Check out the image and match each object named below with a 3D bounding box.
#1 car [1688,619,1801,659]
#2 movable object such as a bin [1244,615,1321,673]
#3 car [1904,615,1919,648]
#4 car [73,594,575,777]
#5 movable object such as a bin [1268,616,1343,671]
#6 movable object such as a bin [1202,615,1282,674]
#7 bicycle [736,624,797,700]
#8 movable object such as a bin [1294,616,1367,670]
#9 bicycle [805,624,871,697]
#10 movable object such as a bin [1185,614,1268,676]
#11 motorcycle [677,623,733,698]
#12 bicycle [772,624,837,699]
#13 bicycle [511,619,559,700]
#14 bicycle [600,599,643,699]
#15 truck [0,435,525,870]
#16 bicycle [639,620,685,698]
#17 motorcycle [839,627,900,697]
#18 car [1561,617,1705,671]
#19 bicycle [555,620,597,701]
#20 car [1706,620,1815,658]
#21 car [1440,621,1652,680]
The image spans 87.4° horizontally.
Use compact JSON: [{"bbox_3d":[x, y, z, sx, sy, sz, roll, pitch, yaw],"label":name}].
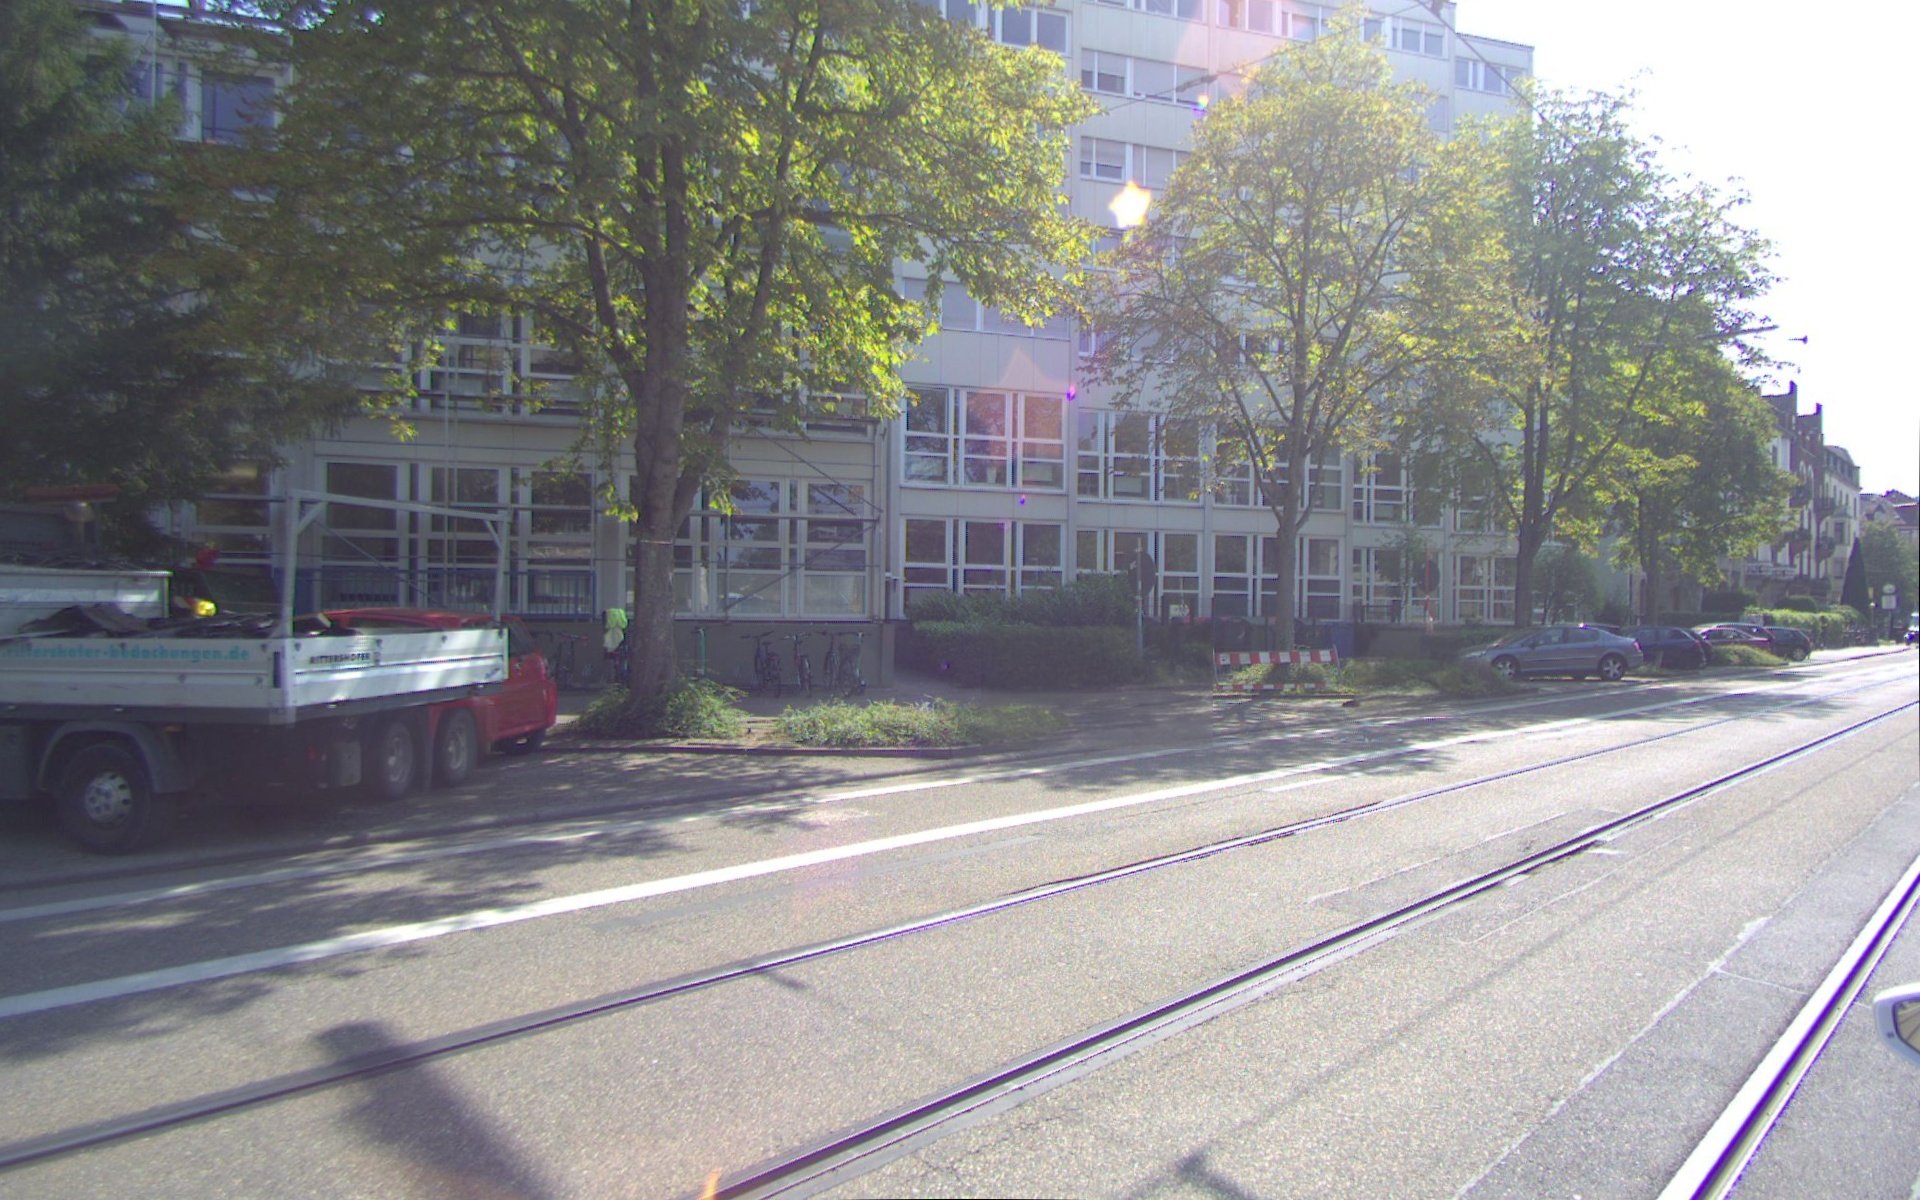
[{"bbox_3d":[34.314,1.695,44.036,3.514,1.595,1.678,1,0,8],"label":"car"},{"bbox_3d":[9.163,1.232,28.567,1.344,1.580,1.667,1,-1,-42],"label":"movable object such as a bin"},{"bbox_3d":[75.893,2.493,79.005,3.974,2.474,2.220,2,0,-44],"label":"car"},{"bbox_3d":[-5.922,0.749,9.617,3.782,1.528,1.722,1,-1,6],"label":"car"},{"bbox_3d":[10.207,1.260,29.723,1.344,1.580,1.667,1,-1,-42],"label":"movable object such as a bin"},{"bbox_3d":[7.770,1.201,27.684,1.344,1.580,1.667,1,-1,-42],"label":"movable object such as a bin"},{"bbox_3d":[-3.545,1.086,18.229,0.613,1.184,2.333,2,1,-22],"label":"bicycle"},{"bbox_3d":[11.319,1.295,30.676,1.344,1.580,1.667,1,-1,-42],"label":"movable object such as a bin"},{"bbox_3d":[-2.321,1.093,18.783,0.554,1.184,2.332,2,1,-23],"label":"bicycle"},{"bbox_3d":[6.991,1.157,26.400,1.344,1.580,1.667,1,-1,-42],"label":"movable object such as a bin"},{"bbox_3d":[-4.575,1.054,17.959,0.733,1.170,1.997,2,1,-20],"label":"motorcycle"},{"bbox_3d":[-2.904,1.100,18.534,0.613,1.184,2.333,2,1,-23],"label":"bicycle"},{"bbox_3d":[-7.075,0.953,16.787,0.593,1.175,2.335,2,1,-20],"label":"bicycle"},{"bbox_3d":[-5.840,0.793,17.269,0.593,1.546,2.335,2,1,-20],"label":"bicycle"},{"bbox_3d":[-6.479,0.255,7.280,5.847,2.467,2.152,1,-1,11],"label":"truck"},{"bbox_3d":[-5.217,0.989,17.518,0.593,1.184,2.335,2,1,-20],"label":"bicycle"},{"bbox_3d":[-1.750,1.157,19.167,0.685,1.198,1.836,2,1,-20],"label":"motorcycle"},{"bbox_3d":[21.933,1.409,32.835,3.514,1.595,1.678,1,0,8],"label":"car"},{"bbox_3d":[-6.487,0.981,17.006,0.593,1.175,2.335,2,1,-20],"label":"bicycle"},{"bbox_3d":[36.413,1.765,45.766,3.514,1.595,1.678,1,0,8],"label":"car"},{"bbox_3d":[15.403,1.317,26.581,4.594,1.471,1.677,0,0,3],"label":"car"}]
